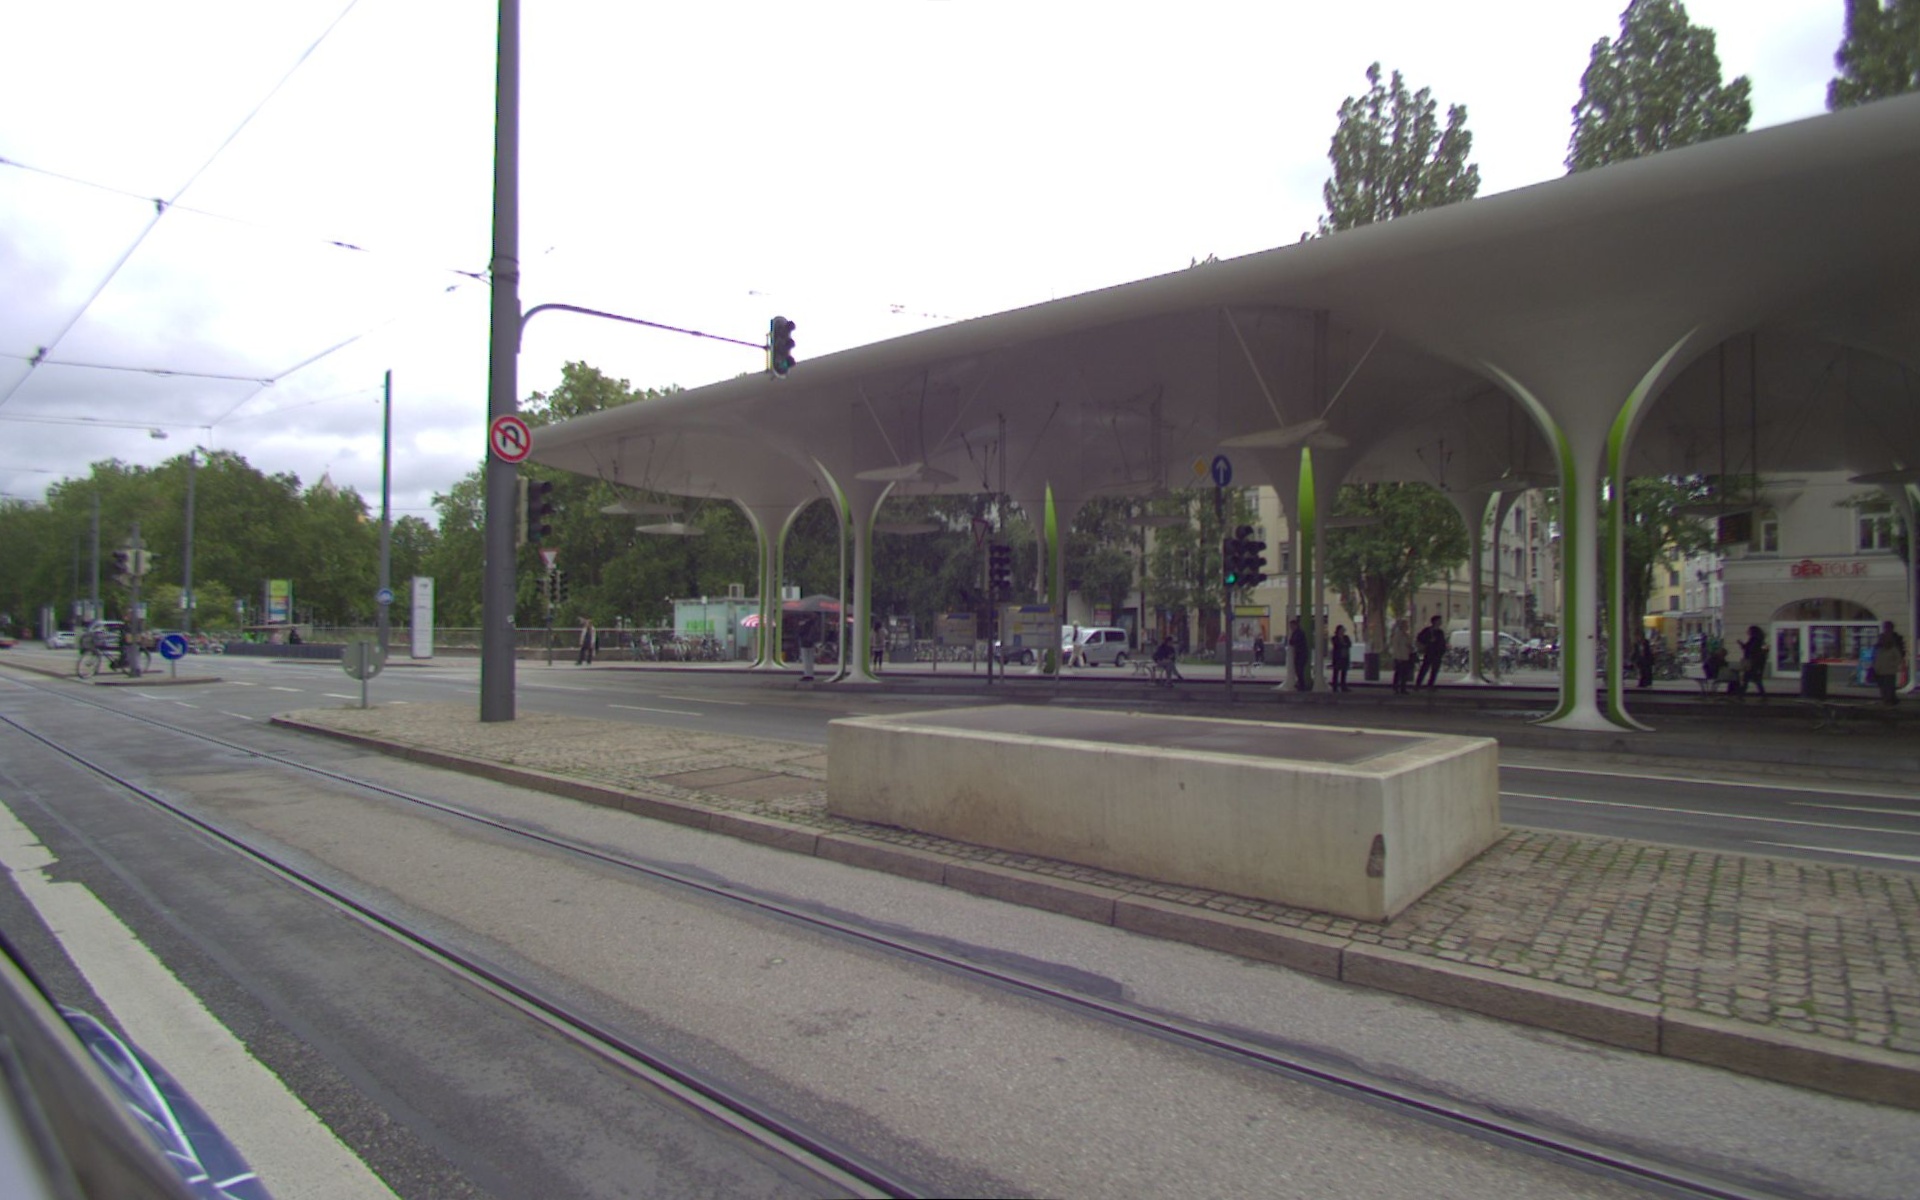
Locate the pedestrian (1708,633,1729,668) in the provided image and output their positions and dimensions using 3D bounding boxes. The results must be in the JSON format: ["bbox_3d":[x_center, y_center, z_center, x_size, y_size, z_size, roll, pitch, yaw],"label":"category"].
[{"bbox_3d":[38.977,2.574,52.004,0.800,1.797,0.945,-2,-2,40],"label":"pedestrian"}]

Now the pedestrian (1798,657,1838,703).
[{"bbox_3d":[19.165,1.788,22.610,0.509,0.996,0.456,0,-2,15],"label":"pedestrian"}]

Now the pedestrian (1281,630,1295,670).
[{"bbox_3d":[16.816,2.561,51.839,0.457,2.029,0.575,-2,0,38],"label":"pedestrian"}]

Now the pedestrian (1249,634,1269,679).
[{"bbox_3d":[13.837,2.611,46.827,0.691,2.029,0.691,-1,-2,34],"label":"pedestrian"}]

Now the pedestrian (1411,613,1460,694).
[{"bbox_3d":[11.317,1.267,24.084,0.878,1.887,0.703,-2,-2,41],"label":"pedestrian"}]

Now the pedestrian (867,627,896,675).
[{"bbox_3d":[-2.716,1.742,34.872,0.830,1.622,0.745,0,-2,11],"label":"pedestrian"}]

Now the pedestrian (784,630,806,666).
[{"bbox_3d":[-7.530,2.195,46.157,0.728,1.612,0.799,1,-2,-34],"label":"pedestrian"}]

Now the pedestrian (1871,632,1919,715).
[{"bbox_3d":[18.716,1.450,20.210,0.639,1.630,0.700,2,-3,-45],"label":"pedestrian"}]

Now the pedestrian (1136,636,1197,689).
[{"bbox_3d":[5.007,1.504,24.630,0.799,1.239,1.274,1,-2,-30],"label":"pedestrian"}]

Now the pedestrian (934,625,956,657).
[{"bbox_3d":[-0.902,2.447,60.230,0.981,1.881,0.899,-2,-2,41],"label":"pedestrian"}]

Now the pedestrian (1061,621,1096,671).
[{"bbox_3d":[4.845,1.875,41.367,0.987,2.029,1.030,1,-2,-33],"label":"pedestrian"}]

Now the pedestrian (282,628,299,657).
[{"bbox_3d":[-37.252,2.375,56.324,0.588,1.570,0.624,-2,-3,40],"label":"pedestrian"}]

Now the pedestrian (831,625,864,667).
[{"bbox_3d":[-4.786,1.938,42.928,0.957,1.776,1.017,-2,-3,42],"label":"pedestrian"}]

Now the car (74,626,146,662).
[{"bbox_3d":[-42.043,2.170,50.031,4.674,1.651,1.844,-1,-4,40],"label":"car"}]

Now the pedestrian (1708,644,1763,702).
[{"bbox_3d":[16.857,1.567,21.998,0.877,1.163,0.902,-2,0,41],"label":"pedestrian"}]

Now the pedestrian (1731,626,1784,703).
[{"bbox_3d":[16.574,1.329,21.048,0.637,1.576,0.660,0,-2,16],"label":"pedestrian"}]

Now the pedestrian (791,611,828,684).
[{"bbox_3d":[-3.884,1.227,26.168,0.801,1.853,0.664,0,-2,10],"label":"pedestrian"}]

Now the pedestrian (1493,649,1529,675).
[{"bbox_3d":[23.923,2.668,43.902,1.810,1.091,0.618,1,-2,-35],"label":"pedestrian"}]

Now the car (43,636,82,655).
[{"bbox_3d":[-73.010,3.676,82.328,3.998,1.542,1.868,-2,-3,41],"label":"car"}]

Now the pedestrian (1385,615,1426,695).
[{"bbox_3d":[9.938,1.220,22.611,0.665,1.741,0.807,0,-2,12],"label":"pedestrian"}]

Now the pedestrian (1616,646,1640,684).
[{"bbox_3d":[19.683,1.917,29.829,0.576,1.092,0.512,-1,-2,34],"label":"pedestrian"}]

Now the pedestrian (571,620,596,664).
[{"bbox_3d":[-15.187,1.695,40.832,0.725,1.729,0.862,1,-2,-38],"label":"pedestrian"}]

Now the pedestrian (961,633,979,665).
[{"bbox_3d":[0.512,2.475,51.359,0.636,1.594,0.627,-2,-2,41],"label":"pedestrian"}]

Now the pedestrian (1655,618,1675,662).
[{"bbox_3d":[33.007,1.850,47.356,0.659,2.029,0.573,1,-2,-39],"label":"pedestrian"}]

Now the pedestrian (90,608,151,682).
[{"bbox_3d":[-21.019,1.108,25.350,0.890,1.825,0.855,0,-1,20],"label":"pedestrian"}]

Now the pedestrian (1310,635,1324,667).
[{"bbox_3d":[18.297,2.605,51.838,0.457,1.638,0.575,-2,0,38],"label":"pedestrian"}]

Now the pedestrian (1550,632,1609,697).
[{"bbox_3d":[13.623,1.401,22.254,0.951,1.380,0.842,2,-2,-42],"label":"pedestrian"}]

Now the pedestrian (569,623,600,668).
[{"bbox_3d":[-13.777,1.660,37.121,0.737,1.641,0.734,-1,-2,20],"label":"pedestrian"}]

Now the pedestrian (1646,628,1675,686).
[{"bbox_3d":[20.261,1.630,29.284,0.639,1.660,0.596,-1,-2,34],"label":"pedestrian"}]

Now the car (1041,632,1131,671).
[{"bbox_3d":[5.654,2.258,45.101,3.937,1.628,1.834,1,-2,-41],"label":"car"}]

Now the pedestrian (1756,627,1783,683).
[{"bbox_3d":[26.796,1.806,33.489,0.549,1.828,0.556,1,-2,-37],"label":"pedestrian"}]

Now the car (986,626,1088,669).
[{"bbox_3d":[3.672,2.208,47.909,4.851,1.962,1.874,2,-2,-38],"label":"car"}]

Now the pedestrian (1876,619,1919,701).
[{"bbox_3d":[20.144,1.273,21.520,0.689,1.709,0.650,0,-2,-8],"label":"pedestrian"}]

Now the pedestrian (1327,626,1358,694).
[{"bbox_3d":[8.903,1.392,23.540,0.633,1.557,0.589,-1,-2,24],"label":"pedestrian"}]

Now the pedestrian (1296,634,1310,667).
[{"bbox_3d":[17.446,2.572,51.439,0.457,1.638,0.575,-2,0,38],"label":"pedestrian"}]

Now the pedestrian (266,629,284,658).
[{"bbox_3d":[-37.631,2.384,55.606,0.588,1.570,0.624,-2,-3,40],"label":"pedestrian"}]

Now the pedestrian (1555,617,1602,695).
[{"bbox_3d":[14.486,1.295,23.700,0.782,1.802,0.754,-2,-2,44],"label":"pedestrian"}]
